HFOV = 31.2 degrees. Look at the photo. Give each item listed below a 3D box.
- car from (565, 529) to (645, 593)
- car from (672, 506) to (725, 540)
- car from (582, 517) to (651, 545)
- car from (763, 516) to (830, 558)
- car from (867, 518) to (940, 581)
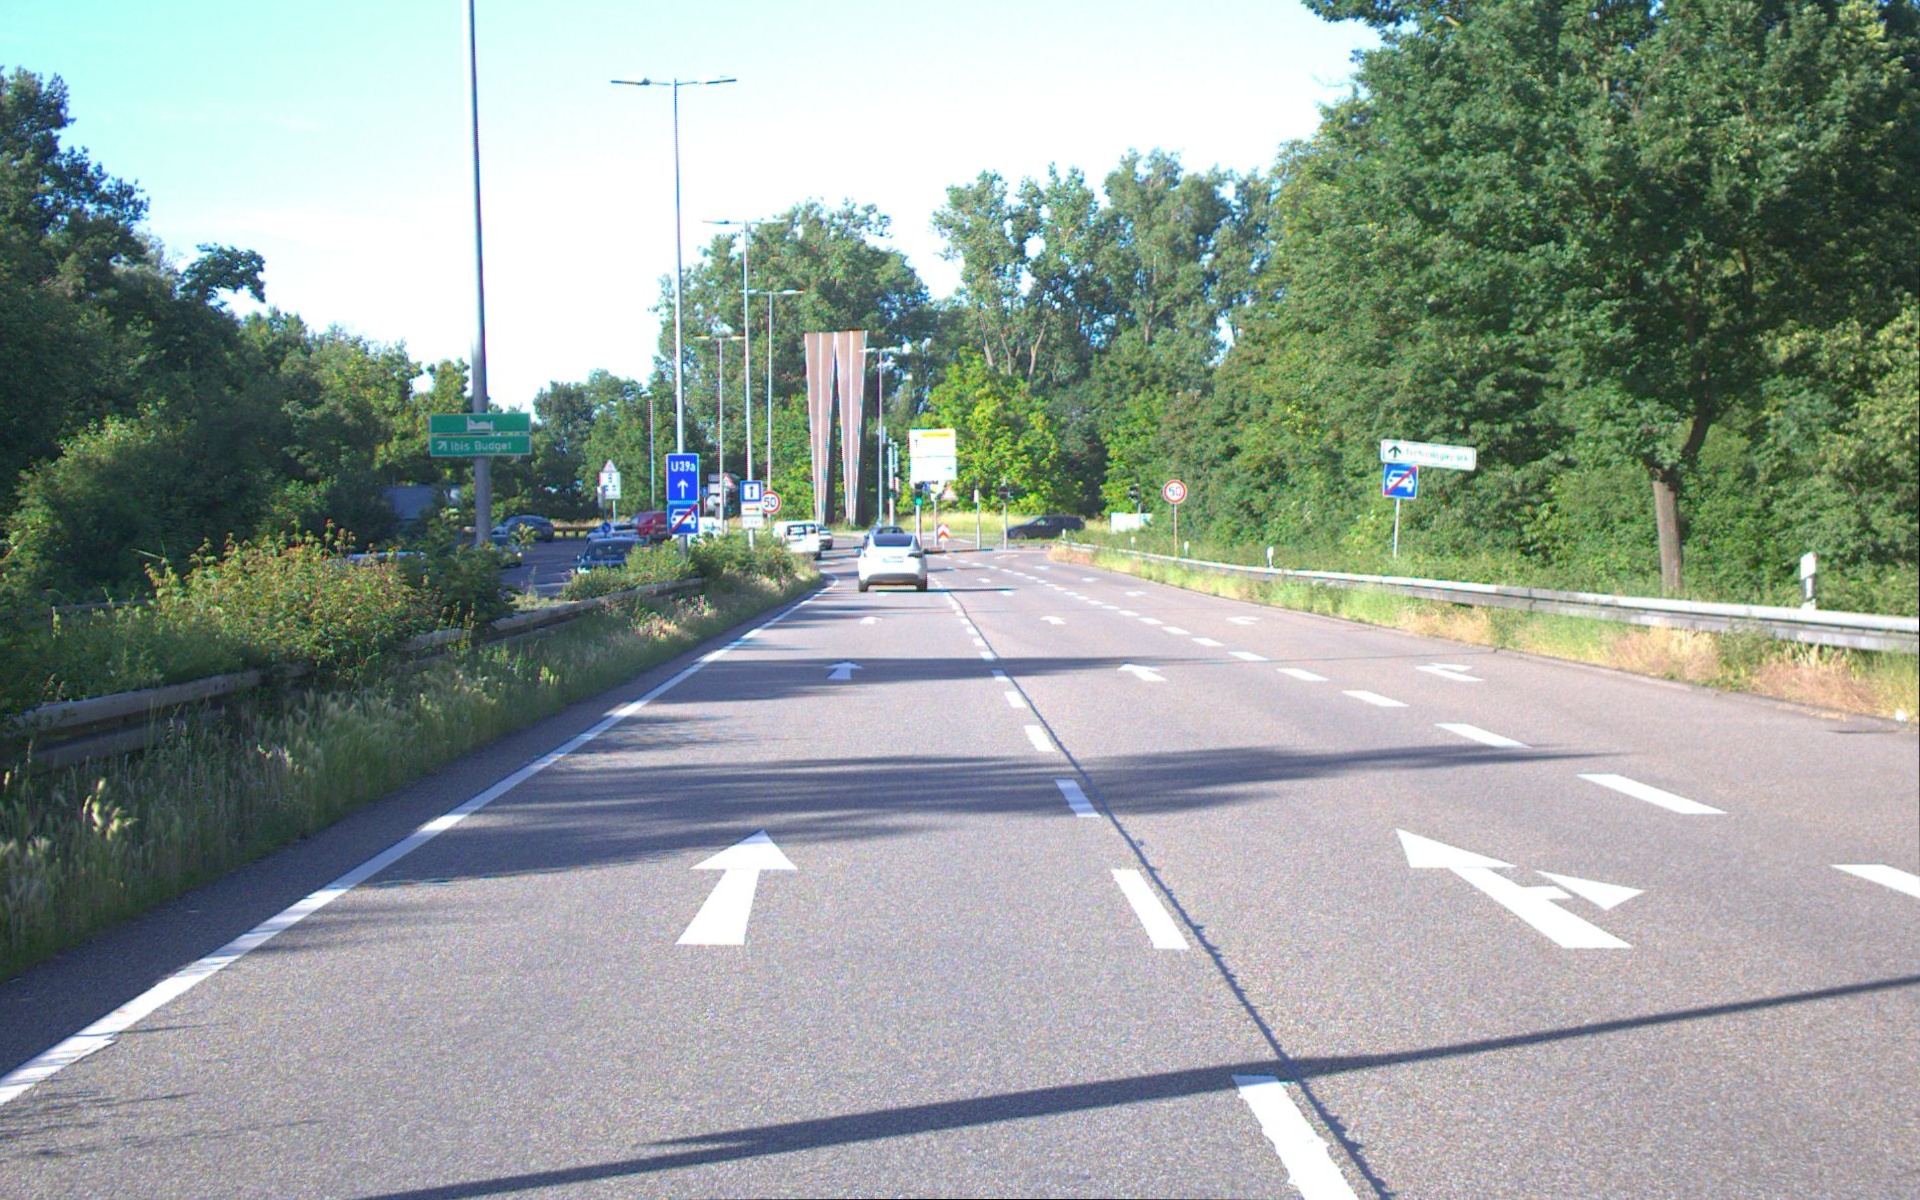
[{"bbox_3d":[-9.777,-1.096,94.823,1.785,1.704,4.547,-1,1,-1],"label":"car"},{"bbox_3d":[-13.719,-4.057,180.114,1.968,1.692,4.002,-2,2,-16],"label":"car"},{"bbox_3d":[-19.066,-3.843,190.910,2.266,1.503,4.000,-2,1,-32],"label":"car"},{"bbox_3d":[-7.642,-2.973,160.503,1.993,1.873,4.250,-2,2,-18],"label":"car"},{"bbox_3d":[-1.609,-1.441,96.787,1.993,1.634,4.129,-1,2,-1],"label":"car"}]
